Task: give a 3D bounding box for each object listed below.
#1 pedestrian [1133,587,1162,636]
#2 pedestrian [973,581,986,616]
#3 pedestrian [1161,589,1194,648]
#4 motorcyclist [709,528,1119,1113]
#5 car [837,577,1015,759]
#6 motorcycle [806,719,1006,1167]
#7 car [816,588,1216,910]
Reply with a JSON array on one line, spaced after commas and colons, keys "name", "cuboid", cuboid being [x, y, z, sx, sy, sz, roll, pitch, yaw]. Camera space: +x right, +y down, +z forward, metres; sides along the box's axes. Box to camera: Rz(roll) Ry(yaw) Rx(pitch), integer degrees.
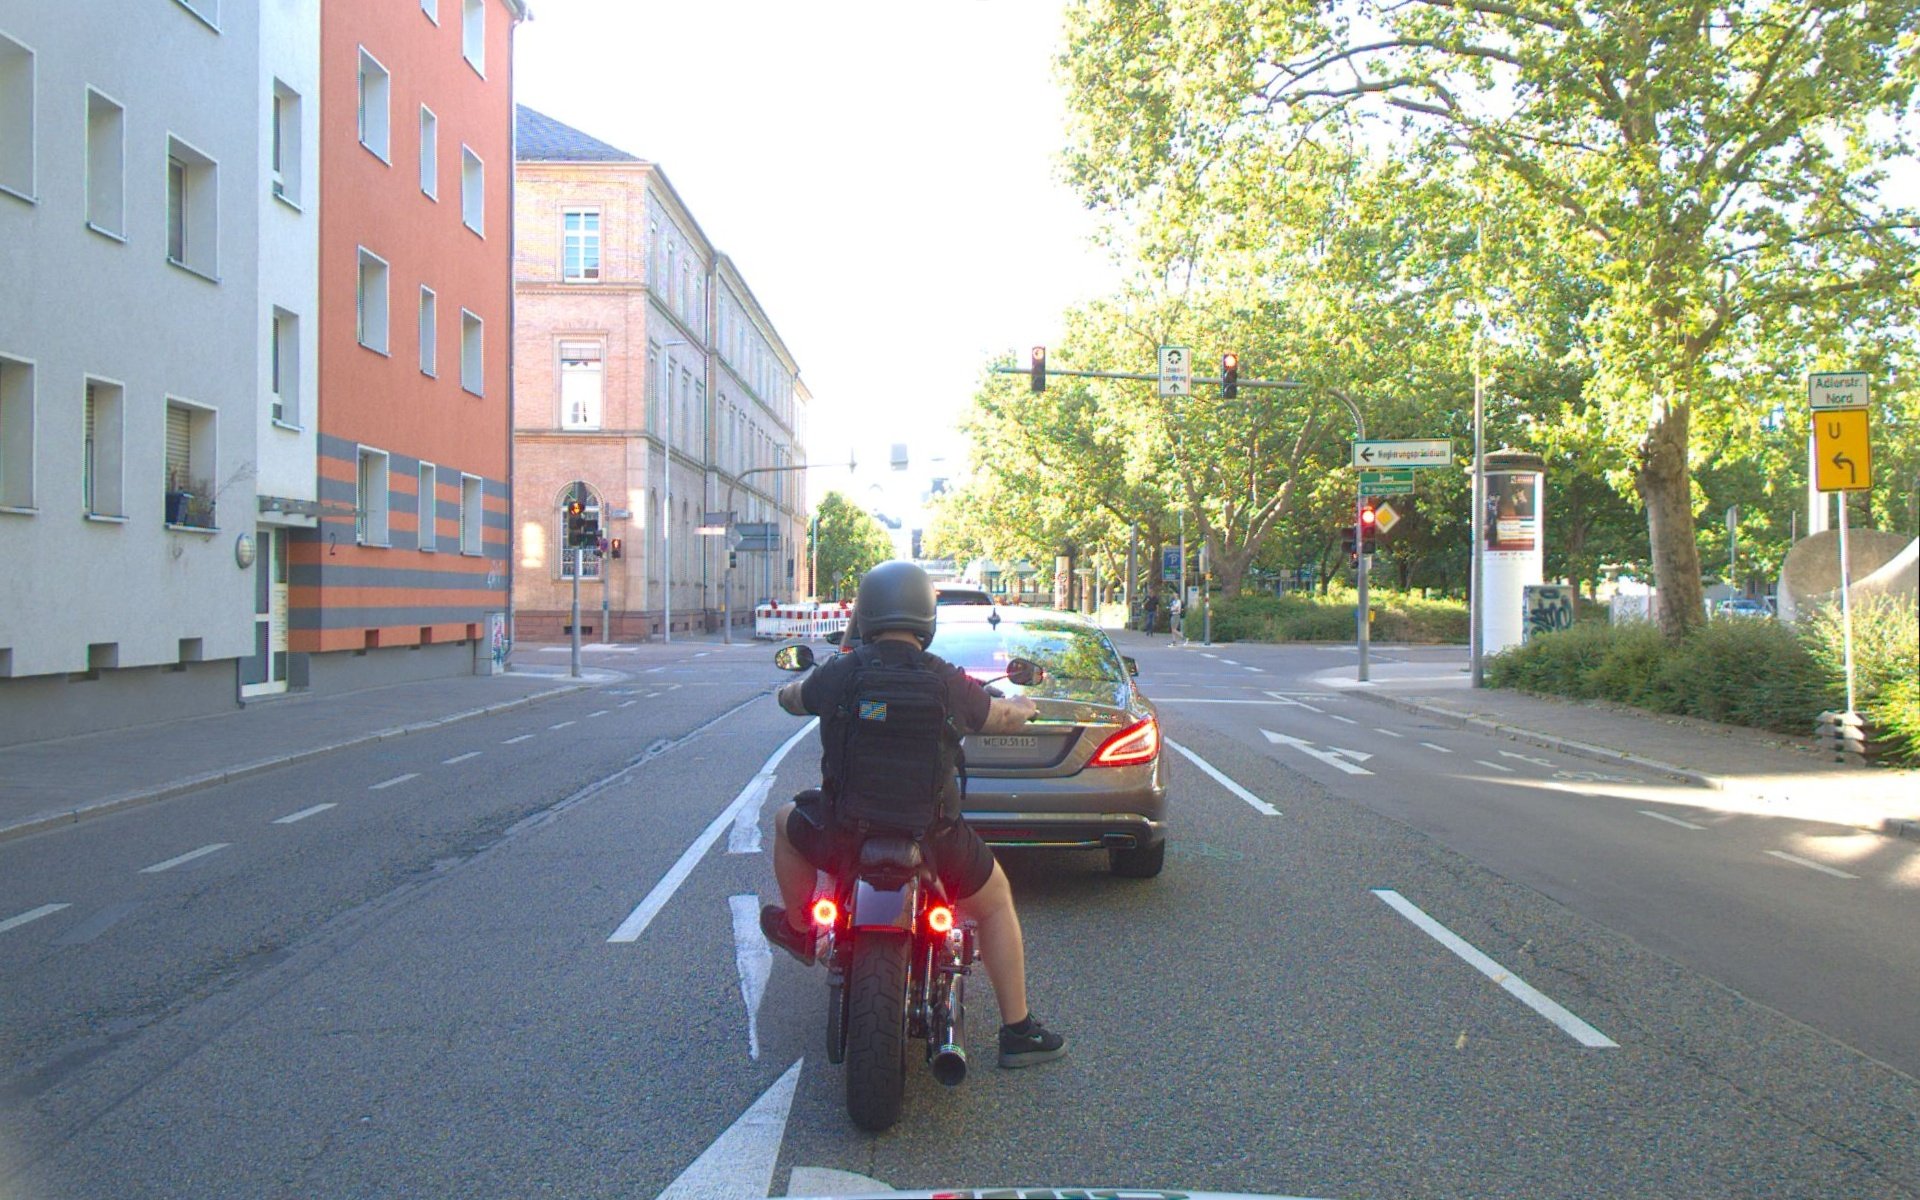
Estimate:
[{"name": "pedestrian", "cuboid": [7.494, 0.451, 66.144, 0.741, 1.943, 0.917, 1, -1, -29]}, {"name": "pedestrian", "cuboid": [1.162, -0.092, 100.752, 0.748, 2.087, 0.712, 1, -1, -1]}, {"name": "pedestrian", "cuboid": [7.022, 0.590, 53.523, 0.980, 1.858, 1.077, 1, -1, 5]}, {"name": "motorcyclist", "cuboid": [-0.136, 0.624, 5.296, 1.125, 1.626, 1.288, 1, 0, -1]}, {"name": "car", "cuboid": [-0.330, 0.599, 16.726, 1.588, 1.622, 3.999, 0, 0, -1]}, {"name": "motorcycle", "cuboid": [-0.154, 0.962, 5.298, 0.503, 1.020, 2.013, 1, 0, -1]}, {"name": "car", "cuboid": [0.236, 0.687, 9.618, 1.844, 1.475, 3.819, 1, 0, -1]}]
